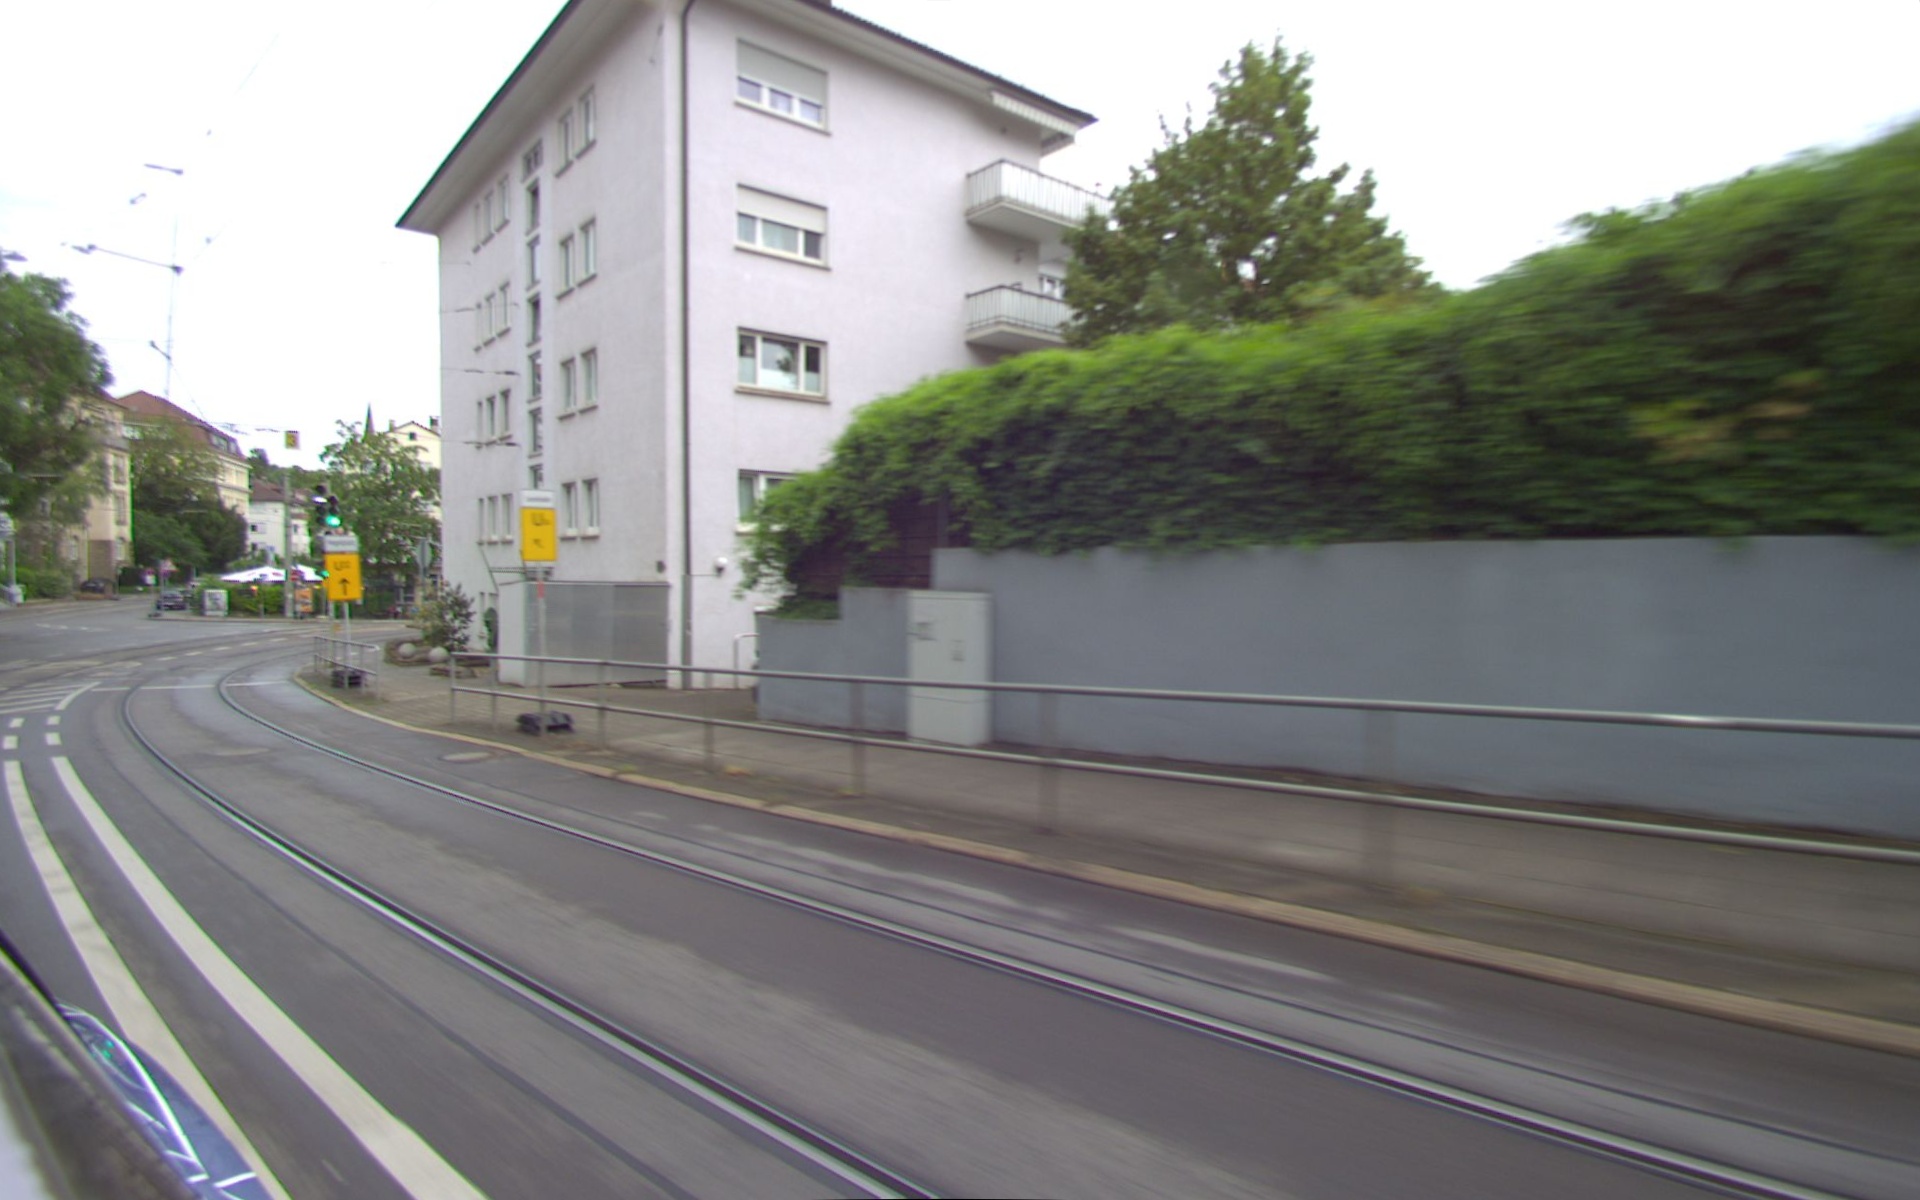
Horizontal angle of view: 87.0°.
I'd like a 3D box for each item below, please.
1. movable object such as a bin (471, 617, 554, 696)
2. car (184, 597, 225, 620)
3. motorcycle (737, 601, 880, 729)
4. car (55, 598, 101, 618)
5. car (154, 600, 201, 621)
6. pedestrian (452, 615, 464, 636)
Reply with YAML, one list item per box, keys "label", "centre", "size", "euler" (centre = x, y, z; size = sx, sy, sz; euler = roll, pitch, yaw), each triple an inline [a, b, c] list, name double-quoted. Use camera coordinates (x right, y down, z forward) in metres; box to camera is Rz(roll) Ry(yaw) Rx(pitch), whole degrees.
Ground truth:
- label: "movable object such as a bin"
  centre: [-8.707, 1.088, 19.697]
  size: [1.170, 1.473, 1.292]
  euler: [1, -3, -40]
- label: "car"
  centre: [-57.600, 0.621, 77.220]
  size: [1.664, 1.703, 3.817]
  euler: [1, -1, -23]
- label: "motorcycle"
  centre: [-2.015, 0.851, 13.661]
  size: [1.899, 1.613, 0.596]
  euler: [1, -4, -44]
- label: "car"
  centre: [-70.086, 0.650, 80.460]
  size: [1.572, 1.351, 3.646]
  euler: [0, -3, -21]
- label: "car"
  centre: [-54.758, 0.727, 70.908]
  size: [1.664, 1.453, 3.817]
  euler: [1, -1, -23]
- label: "pedestrian"
  centre: [-39.528, 2.003, 79.678]
  size: [0.540, 1.566, 0.558]
  euler: [2, -3, 3]
